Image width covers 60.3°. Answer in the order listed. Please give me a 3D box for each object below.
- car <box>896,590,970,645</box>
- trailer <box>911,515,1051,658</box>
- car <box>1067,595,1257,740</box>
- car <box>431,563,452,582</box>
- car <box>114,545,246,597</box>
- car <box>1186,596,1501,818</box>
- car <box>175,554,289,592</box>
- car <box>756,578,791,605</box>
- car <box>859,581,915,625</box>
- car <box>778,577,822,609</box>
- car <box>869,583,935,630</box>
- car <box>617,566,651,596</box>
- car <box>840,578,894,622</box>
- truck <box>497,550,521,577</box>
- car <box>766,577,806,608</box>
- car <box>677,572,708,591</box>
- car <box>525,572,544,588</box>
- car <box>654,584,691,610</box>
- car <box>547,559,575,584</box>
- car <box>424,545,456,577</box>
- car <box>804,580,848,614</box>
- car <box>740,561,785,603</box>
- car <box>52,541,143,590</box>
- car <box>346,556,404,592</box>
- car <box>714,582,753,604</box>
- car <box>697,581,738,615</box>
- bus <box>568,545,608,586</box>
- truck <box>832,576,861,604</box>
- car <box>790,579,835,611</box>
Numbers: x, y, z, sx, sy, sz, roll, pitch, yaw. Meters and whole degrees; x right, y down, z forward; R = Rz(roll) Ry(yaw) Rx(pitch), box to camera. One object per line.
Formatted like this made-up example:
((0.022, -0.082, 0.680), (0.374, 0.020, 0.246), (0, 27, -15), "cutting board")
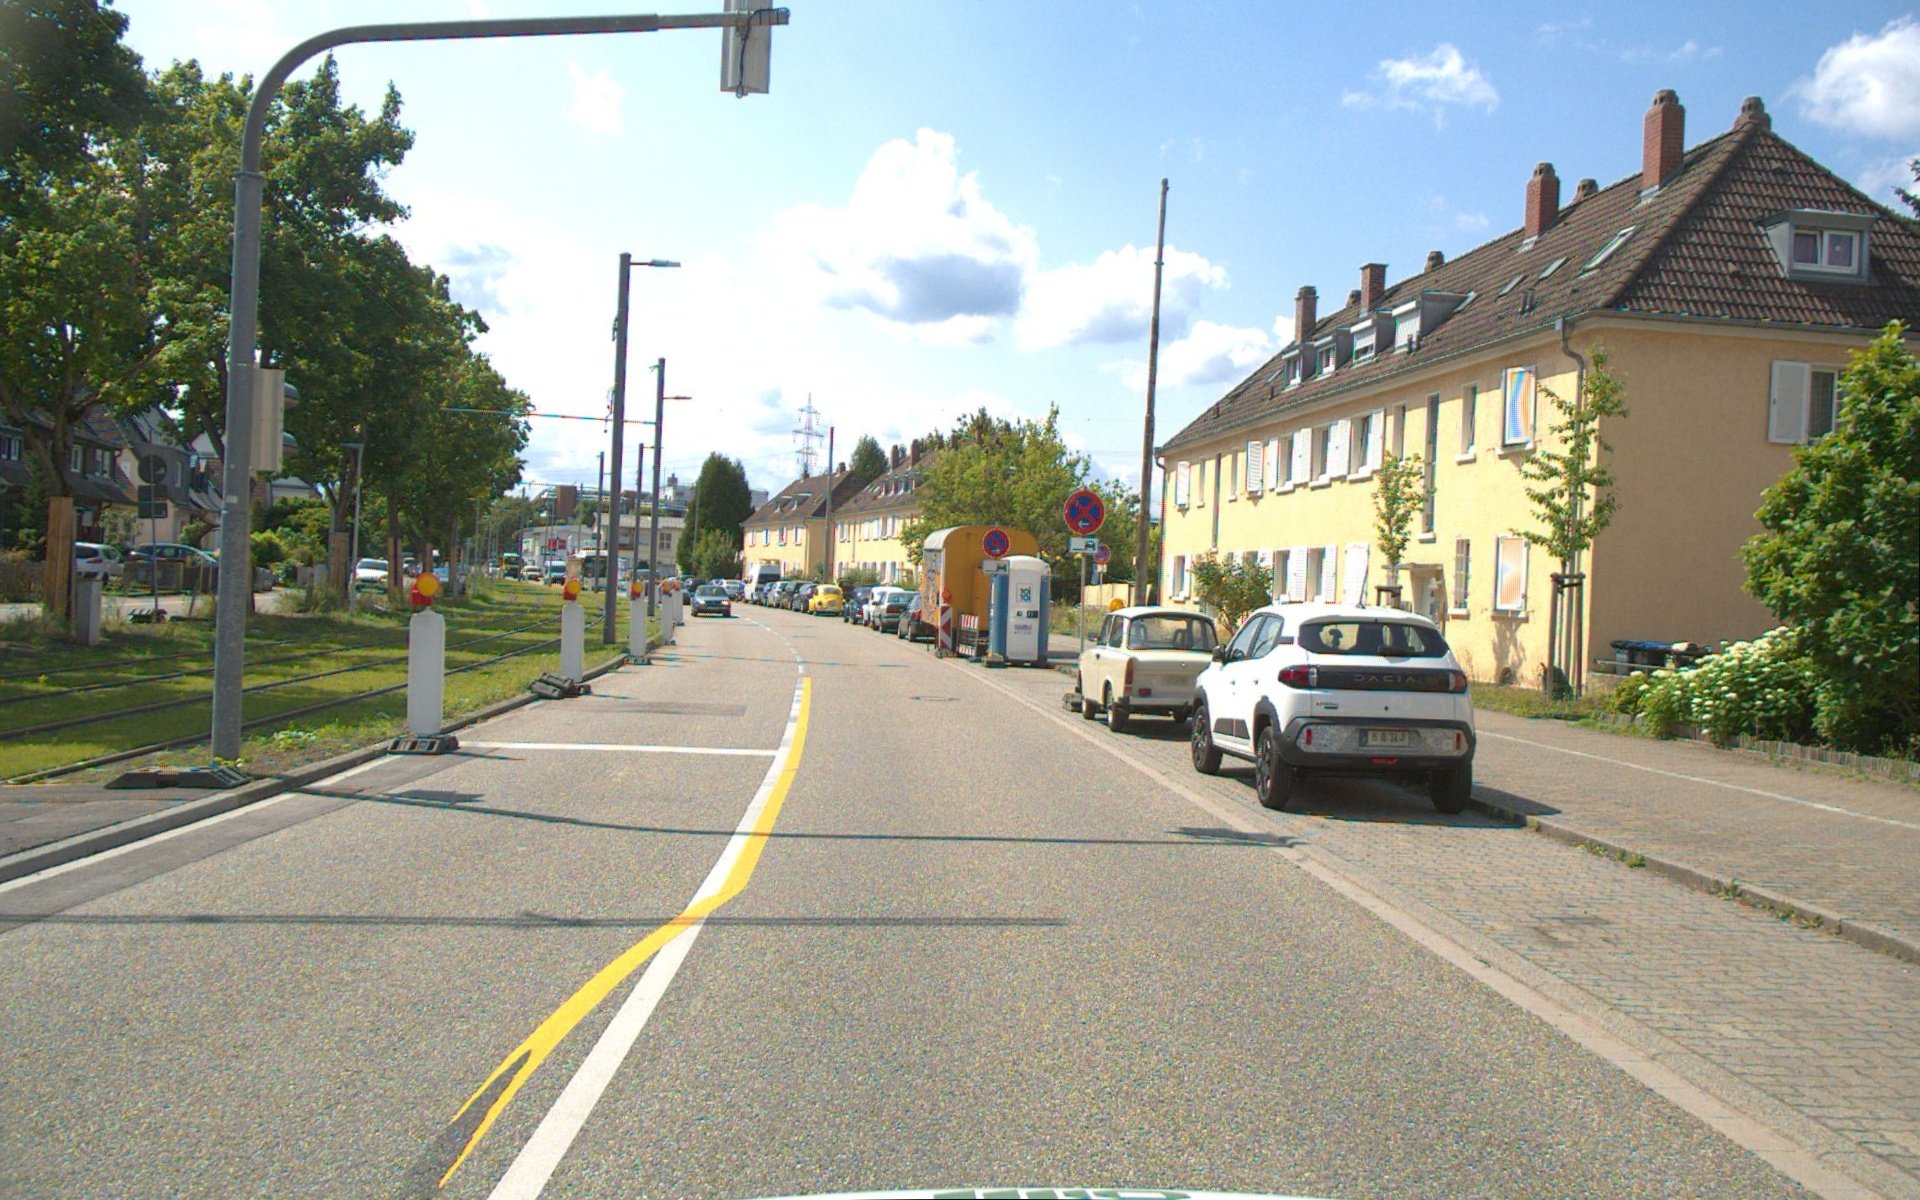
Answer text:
((-0.869, 0.486, 49.791), (1.548, 1.474, 4.444), (2, 0, -9), "car")
((0.435, -0.348, 41.546), (2.640, 3.283, 5.072), (2, 0, -8), "trailer")
((2.331, 0.736, 20.016), (1.435, 1.528, 4.105), (1, 0, -5), "car")
((-44.552, -2.384, 142.086), (1.702, 1.531, 4.544), (0, 1, -18), "car")
((-31.446, -1.155, 66.812), (4.395, 1.868, 2.057), (2, 0, -15), "car")
((2.950, 0.746, 13.486), (1.497, 1.507, 3.807), (1, 0, -3), "car")
((-33.133, -1.232, 75.377), (4.395, 1.550, 1.918), (2, 0, -15), "car")
((-11.148, -0.508, 98.732), (1.510, 1.470, 3.723), (2, 1, -15), "car")
((-2.792, 0.078, 62.660), (1.548, 1.539, 4.450), (2, 0, -9), "car")
((-8.742, -0.398, 90.280), (1.610, 1.630, 3.914), (2, 1, -17), "car")
((-2.070, 0.187, 57.623), (1.675, 1.474, 4.825), (2, 0, -9), "car")
((-22.601, -1.328, 114.581), (1.923, 2.000, 5.271), (1, 1, -15), "car")
((-3.833, -0.027, 67.682), (1.522, 1.669, 4.234), (2, 0, -12), "car")
((-62.037, -5.015, 227.431), (2.523, 3.519, 7.104), (0, 1, -21), "truck")
((-9.930, -0.448, 94.007), (1.609, 1.630, 4.014), (2, 1, -15), "car")
((-20.953, -1.435, 129.559), (1.737, 1.442, 3.978), (0, 1, -19), "car")
((-51.184, -2.443, 199.124), (1.709, 1.804, 4.282), (2, 1, -21), "car")
((-17.079, -0.191, 98.159), (1.696, 1.413, 4.105), (2, 0, -15), "car")
((-41.523, -3.016, 172.124), (2.072, 2.486, 5.537), (2, 0, -21), "car")
((-46.939, -3.490, 149.166), (2.046, 2.768, 6.953), (0, 1, -23), "car")
((-6.505, -0.163, 79.921), (1.608, 1.508, 3.919), (-1, 2, -13), "car")
((-12.449, -1.167, 103.910), (1.898, 2.524, 5.494), (1, 1, -16), "car")
((-29.245, -1.161, 56.172), (1.698, 1.544, 4.031), (2, 0, -13), "car")
((-30.526, -1.346, 86.424), (1.846, 1.799, 5.073), (2, 0, -9), "car")
((-15.956, -0.493, 116.187), (1.772, 1.483, 4.737), (0, 0, -20), "car")
((-10.986, -0.103, 74.822), (1.636, 1.474, 3.948), (-1, 1, -11), "car")
((-33.101, -3.073, 146.921), (2.594, 3.472, 12.192), (0, 1, -17), "bus")
((-7.069, -0.624, 102.939), (1.324, 1.718, 2.431), (2, 0, -15), "truck")
((-7.592, -0.265, 84.845), (1.609, 1.508, 4.109), (2, 1, -15), "car")
